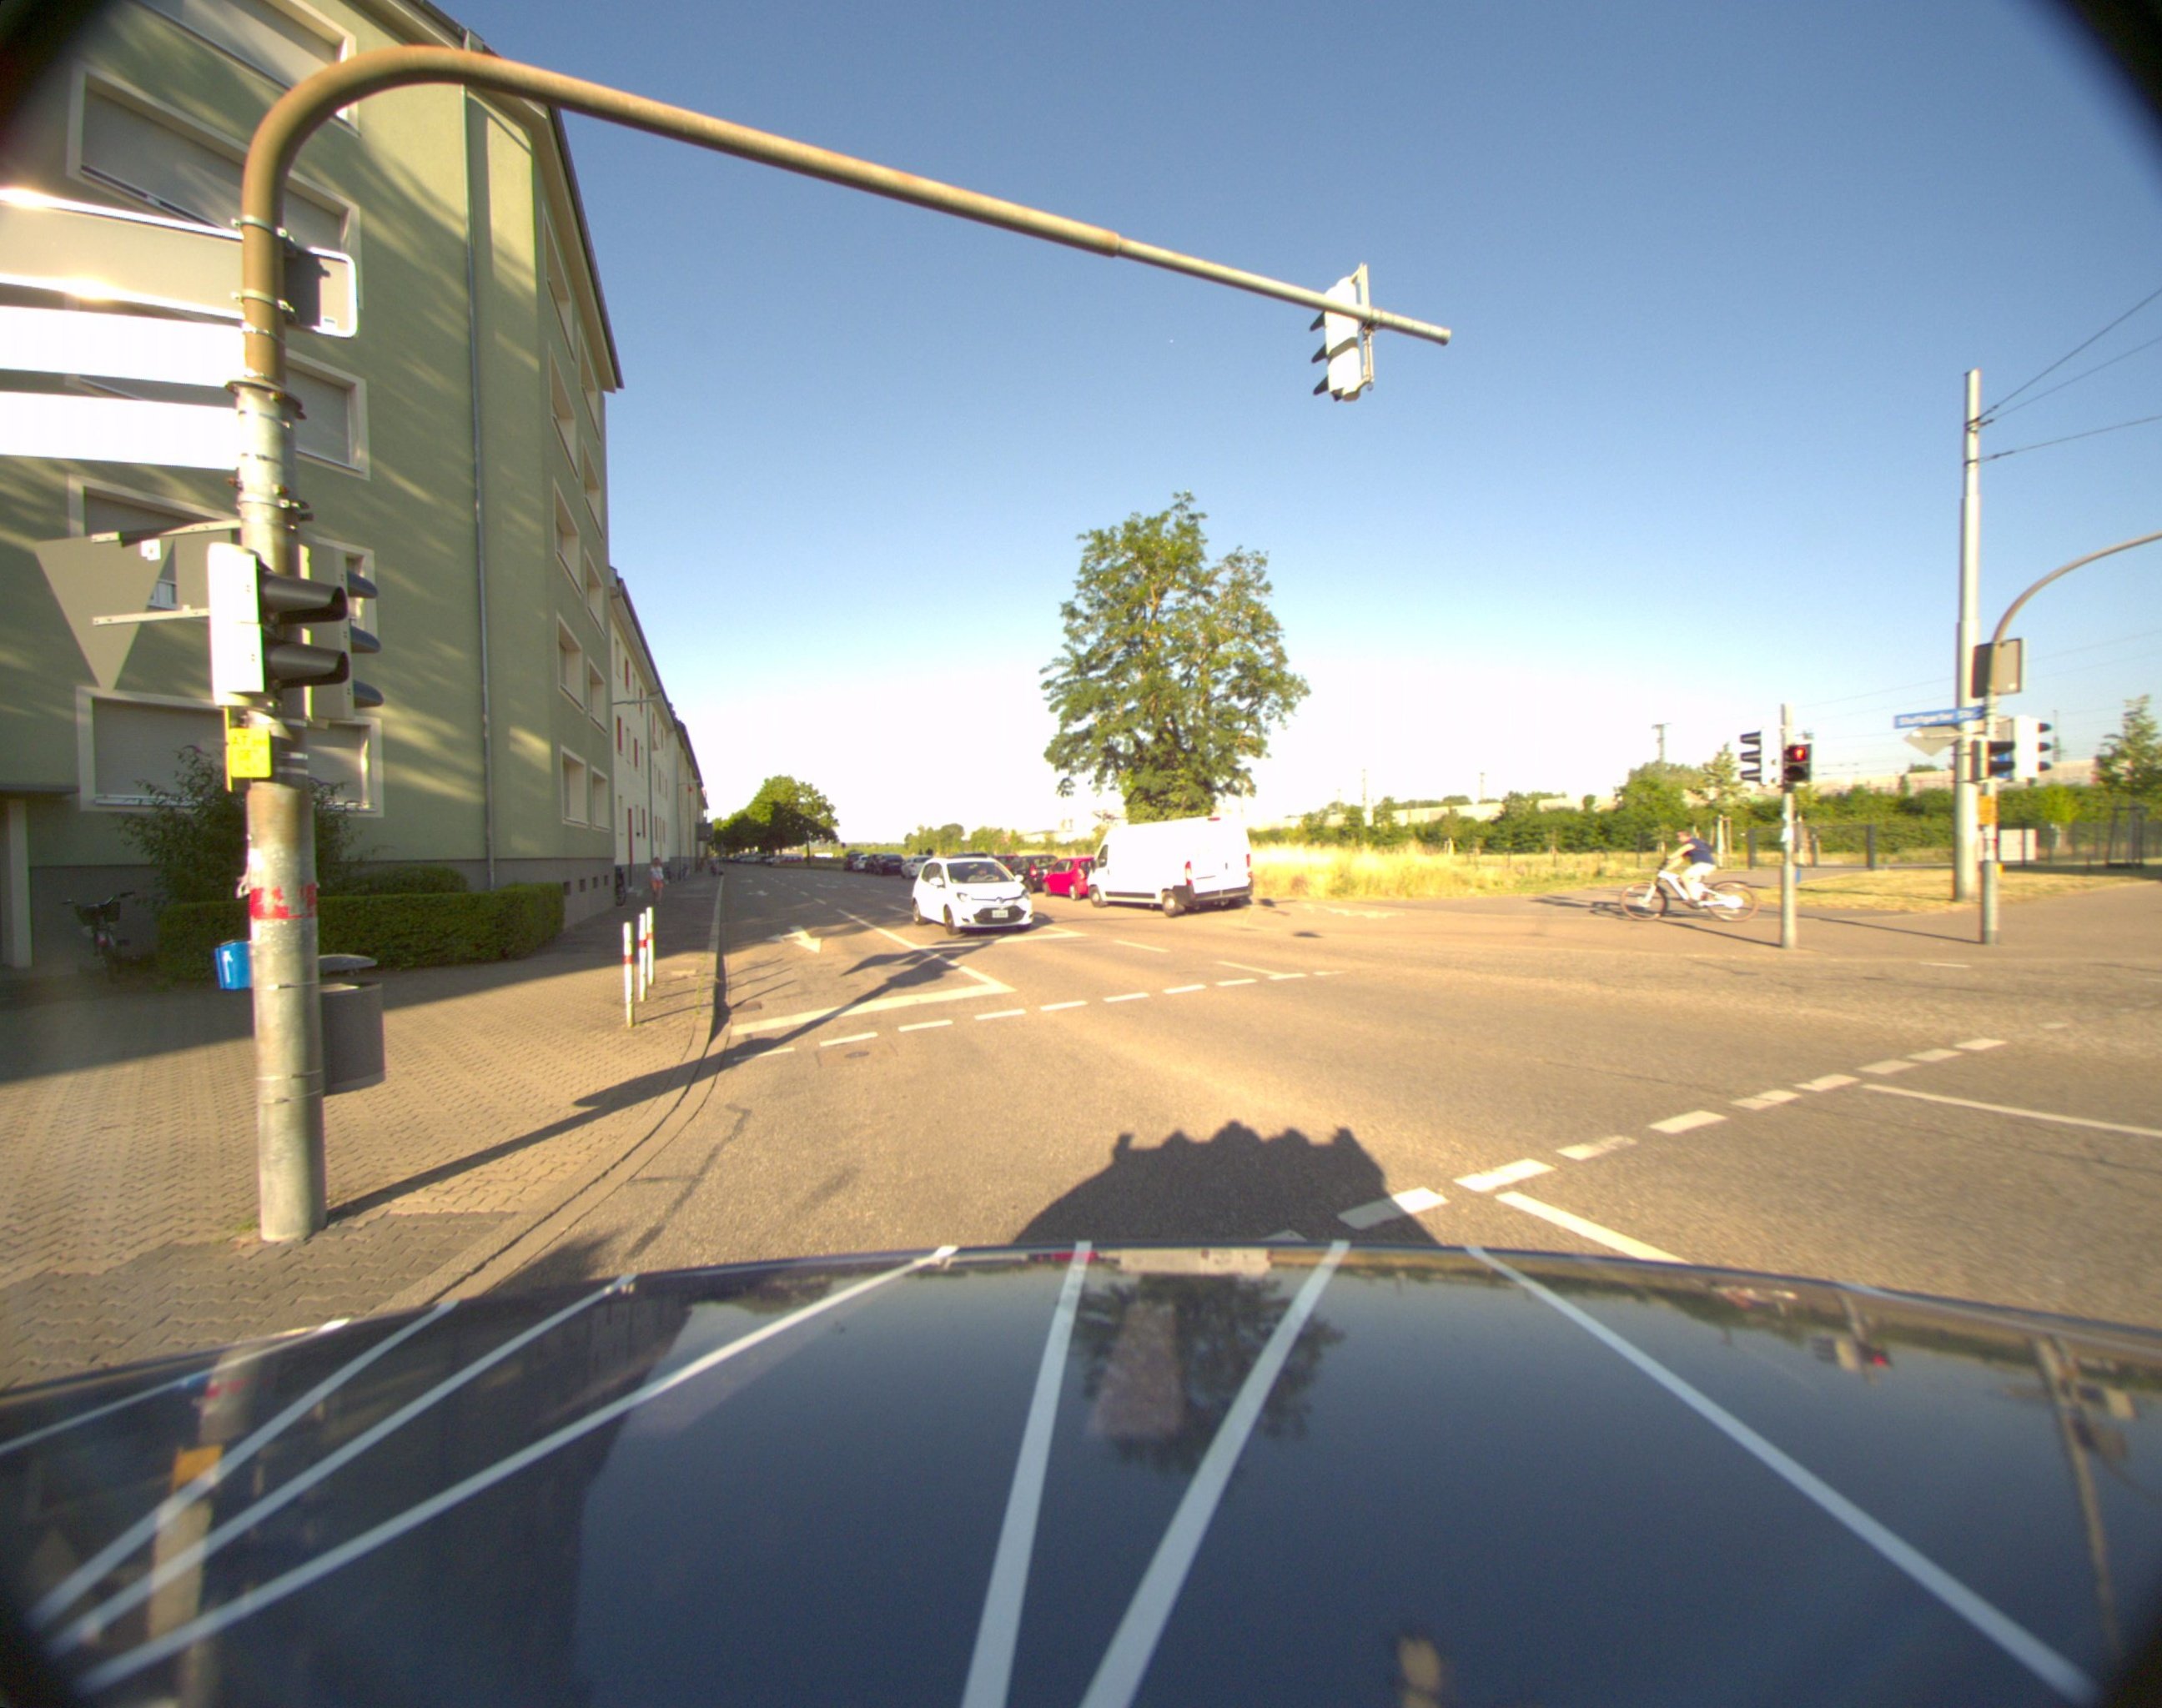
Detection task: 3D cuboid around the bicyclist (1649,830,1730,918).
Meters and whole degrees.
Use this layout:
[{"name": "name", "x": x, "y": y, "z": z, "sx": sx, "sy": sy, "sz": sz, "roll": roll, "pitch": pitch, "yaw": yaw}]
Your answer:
[{"name": "bicyclist", "x": 11.171, "y": 0.351, "z": 13.995, "sx": 1.019, "sy": 1.538, "sz": 0.854, "roll": -1, "pitch": 1, "yaw": 27}]

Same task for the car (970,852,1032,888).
[{"name": "car", "x": -3.733, "y": 0.690, "z": 35.029, "sx": 1.667, "sy": 1.521, "sz": 3.571, "roll": -2, "pitch": 1, "yaw": -26}]

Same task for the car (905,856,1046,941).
[{"name": "car", "x": -2.283, "y": 0.792, "z": 15.610, "sx": 1.708, "sy": 1.460, "sz": 3.767, "roll": -2, "pitch": 1, "yaw": -27}]

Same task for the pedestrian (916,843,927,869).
[{"name": "pedestrian", "x": -12.753, "y": 0.157, "z": 60.777, "sx": 0.616, "sy": 2.002, "sz": 0.728, "roll": -2, "pitch": 1, "yaw": -28}]

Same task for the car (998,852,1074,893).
[{"name": "car", "x": -1.914, "y": 0.705, "z": 31.123, "sx": 1.749, "sy": 1.521, "sz": 3.808, "roll": -2, "pitch": 1, "yaw": -26}]

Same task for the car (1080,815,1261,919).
[{"name": "car", "x": 2.293, "y": 0.298, "z": 21.418, "sx": 2.239, "sy": 2.423, "sz": 5.548, "roll": -5, "pitch": 2, "yaw": -27}]

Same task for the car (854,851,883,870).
[{"name": "car", "x": -18.785, "y": 0.561, "z": 66.960, "sx": 1.827, "sy": 1.565, "sz": 4.211, "roll": -2, "pitch": 1, "yaw": -24}]

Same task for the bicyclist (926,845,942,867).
[{"name": "bicyclist", "x": -11.181, "y": 0.161, "z": 57.851, "sx": 0.868, "sy": 1.587, "sz": 1.143, "roll": -2, "pitch": 1, "yaw": -29}]

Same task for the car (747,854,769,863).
[{"name": "car", "x": -66.001, "y": 0.976, "z": 155.200, "sx": 4.005, "sy": 1.708, "sz": 1.995, "roll": -2, "pitch": 1, "yaw": -27}]

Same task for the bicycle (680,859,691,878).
[{"name": "bicycle", "x": -27.527, "y": 1.001, "z": 52.918, "sx": 0.518, "sy": 1.318, "sz": 2.205, "roll": -2, "pitch": 1, "yaw": -24}]

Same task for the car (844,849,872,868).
[{"name": "car", "x": -21.251, "y": 0.413, "z": 72.292, "sx": 1.894, "sy": 1.765, "sz": 4.211, "roll": -2, "pitch": 1, "yaw": -24}]

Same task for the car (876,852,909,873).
[{"name": "car", "x": -14.152, "y": 0.600, "z": 56.902, "sx": 1.827, "sy": 1.517, "sz": 4.281, "roll": -2, "pitch": 1, "yaw": -21}]

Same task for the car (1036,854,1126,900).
[{"name": "car", "x": -0.079, "y": 0.752, "z": 27.166, "sx": 1.749, "sy": 1.478, "sz": 3.686, "roll": -2, "pitch": 1, "yaw": -26}]

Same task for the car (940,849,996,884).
[{"name": "car", "x": -5.881, "y": 0.617, "z": 39.112, "sx": 1.667, "sy": 1.650, "sz": 3.997, "roll": -2, "pitch": 1, "yaw": -26}]

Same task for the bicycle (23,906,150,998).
[{"name": "bicycle", "x": -12.640, "y": 1.199, "z": 9.649, "sx": 1.843, "sy": 0.996, "sz": 0.647, "roll": -1, "pitch": 1, "yaw": 28}]

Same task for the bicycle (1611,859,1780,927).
[{"name": "bicycle", "x": 11.166, "y": 0.687, "z": 13.918, "sx": 2.286, "sy": 1.143, "sz": 0.794, "roll": -1, "pitch": 1, "yaw": 26}]

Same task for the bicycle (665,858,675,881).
[{"name": "bicycle", "x": -26.051, "y": 0.957, "z": 48.161, "sx": 0.518, "sy": 1.404, "sz": 1.869, "roll": -2, "pitch": 1, "yaw": -29}]

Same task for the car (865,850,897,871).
[{"name": "car", "x": -16.419, "y": 0.497, "z": 62.126, "sx": 1.827, "sy": 1.628, "sz": 4.211, "roll": -2, "pitch": 1, "yaw": -24}]

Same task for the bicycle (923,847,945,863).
[{"name": "bicycle", "x": -11.191, "y": 0.093, "z": 57.895, "sx": 0.942, "sy": 1.182, "sz": 2.476, "roll": -2, "pitch": 1, "yaw": -27}]

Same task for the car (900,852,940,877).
[{"name": "car", "x": -10.358, "y": 0.652, "z": 48.832, "sx": 1.710, "sy": 1.517, "sz": 3.575, "roll": -2, "pitch": 1, "yaw": -25}]

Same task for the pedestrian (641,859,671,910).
[{"name": "pedestrian", "x": -14.510, "y": 1.027, "z": 25.983, "sx": 0.789, "sy": 1.697, "sz": 0.947, "roll": -1, "pitch": 2, "yaw": -26}]

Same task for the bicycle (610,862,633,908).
[{"name": "bicycle", "x": -14.936, "y": 0.980, "z": 24.709, "sx": 0.518, "sy": 1.404, "sz": 1.869, "roll": -2, "pitch": 1, "yaw": -29}]

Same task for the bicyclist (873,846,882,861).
[{"name": "bicyclist", "x": -21.454, "y": -0.058, "z": 80.122, "sx": 0.770, "sy": 1.587, "sz": 1.143, "roll": -2, "pitch": 1, "yaw": -24}]

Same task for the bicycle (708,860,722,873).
[{"name": "bicycle", "x": -30.439, "y": 1.031, "z": 63.197, "sx": 0.652, "sy": 1.091, "sz": 2.197, "roll": -2, "pitch": 1, "yaw": -34}]

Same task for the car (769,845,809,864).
[{"name": "car", "x": -45.187, "y": 0.052, "z": 117.536, "sx": 5.331, "sy": 2.399, "sz": 2.261, "roll": -6, "pitch": 3, "yaw": -26}]
